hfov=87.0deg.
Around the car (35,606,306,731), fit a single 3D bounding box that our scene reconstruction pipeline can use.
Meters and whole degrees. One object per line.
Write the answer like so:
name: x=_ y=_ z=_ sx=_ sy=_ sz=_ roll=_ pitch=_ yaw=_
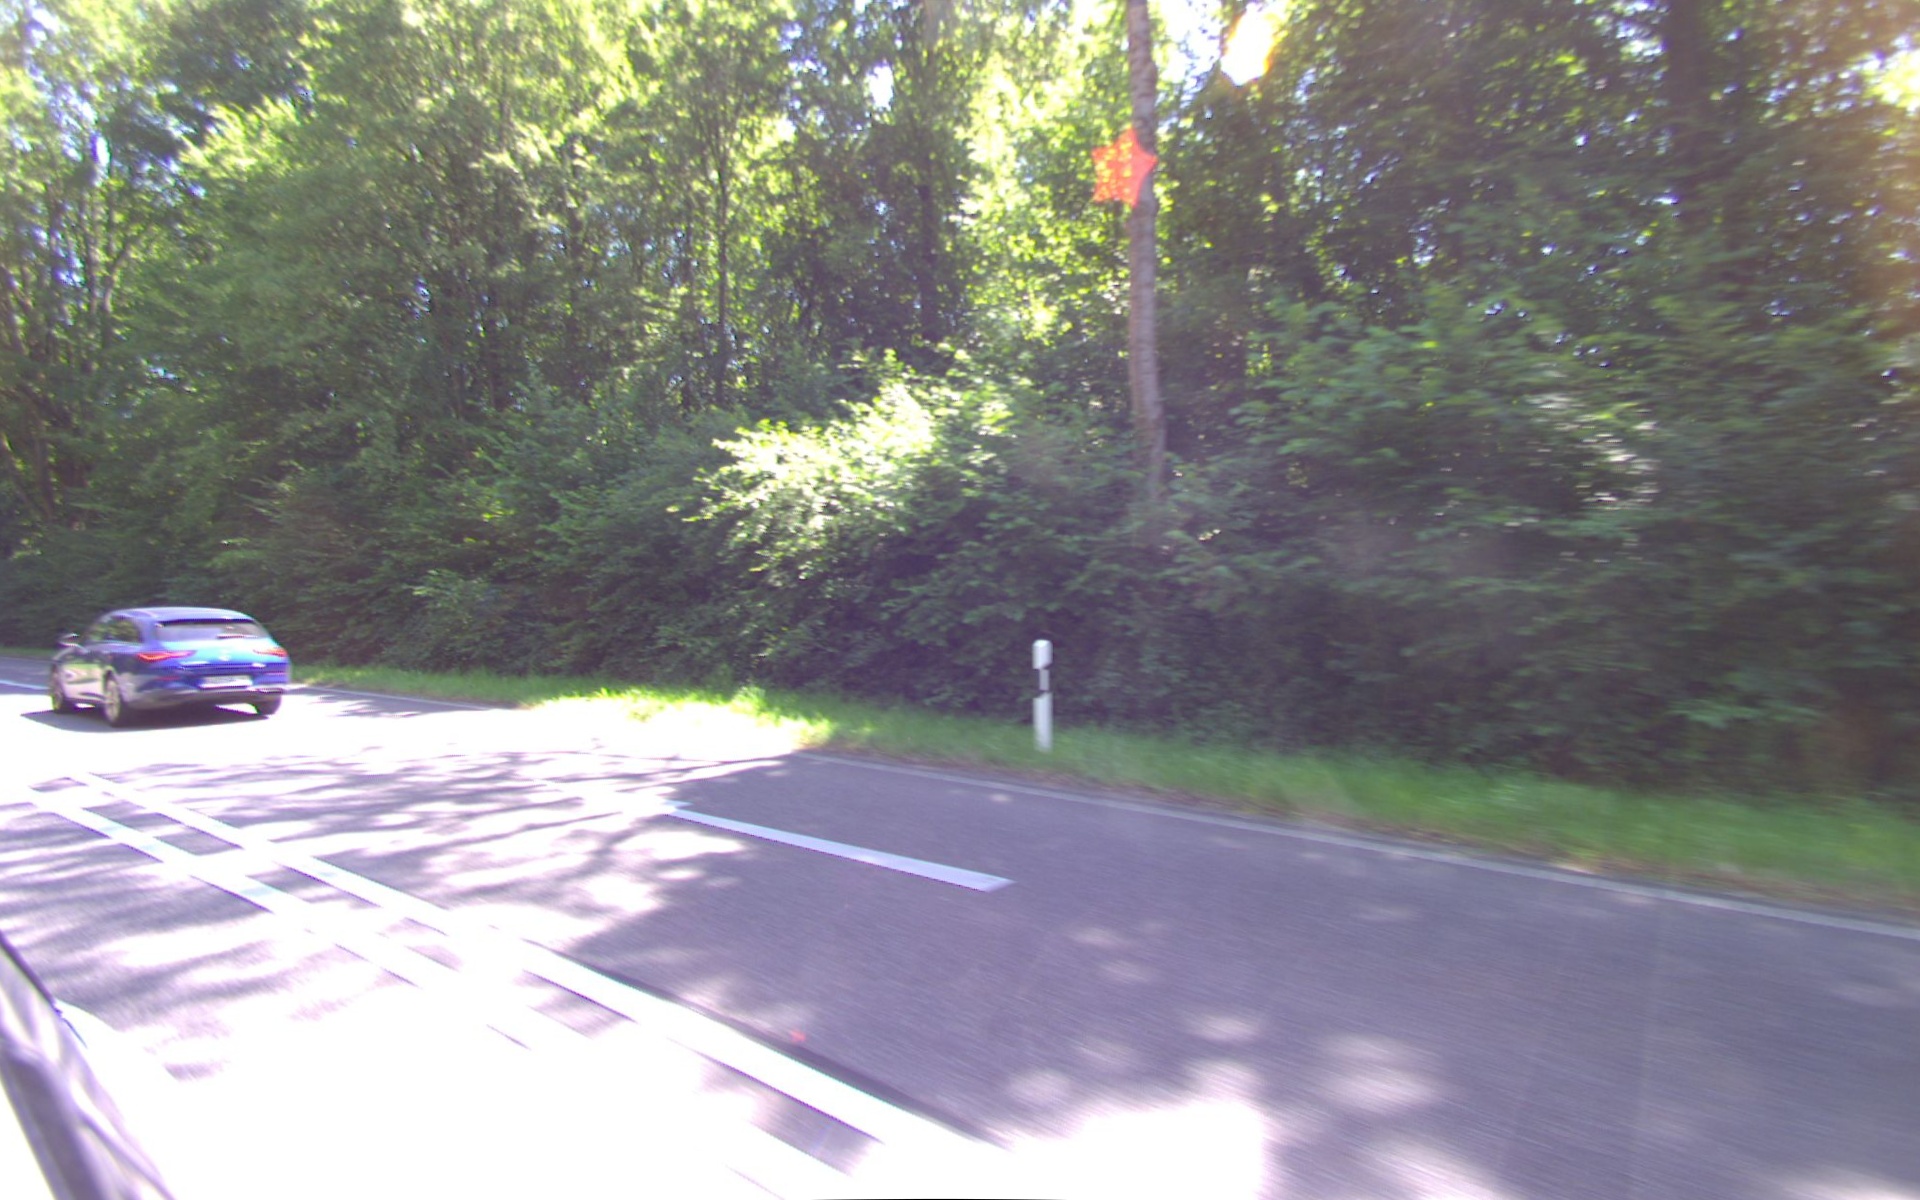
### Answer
car: x=-10.631 y=0.805 z=13.524 sx=4.353 sy=1.417 sz=1.772 roll=0 pitch=-1 yaw=37
